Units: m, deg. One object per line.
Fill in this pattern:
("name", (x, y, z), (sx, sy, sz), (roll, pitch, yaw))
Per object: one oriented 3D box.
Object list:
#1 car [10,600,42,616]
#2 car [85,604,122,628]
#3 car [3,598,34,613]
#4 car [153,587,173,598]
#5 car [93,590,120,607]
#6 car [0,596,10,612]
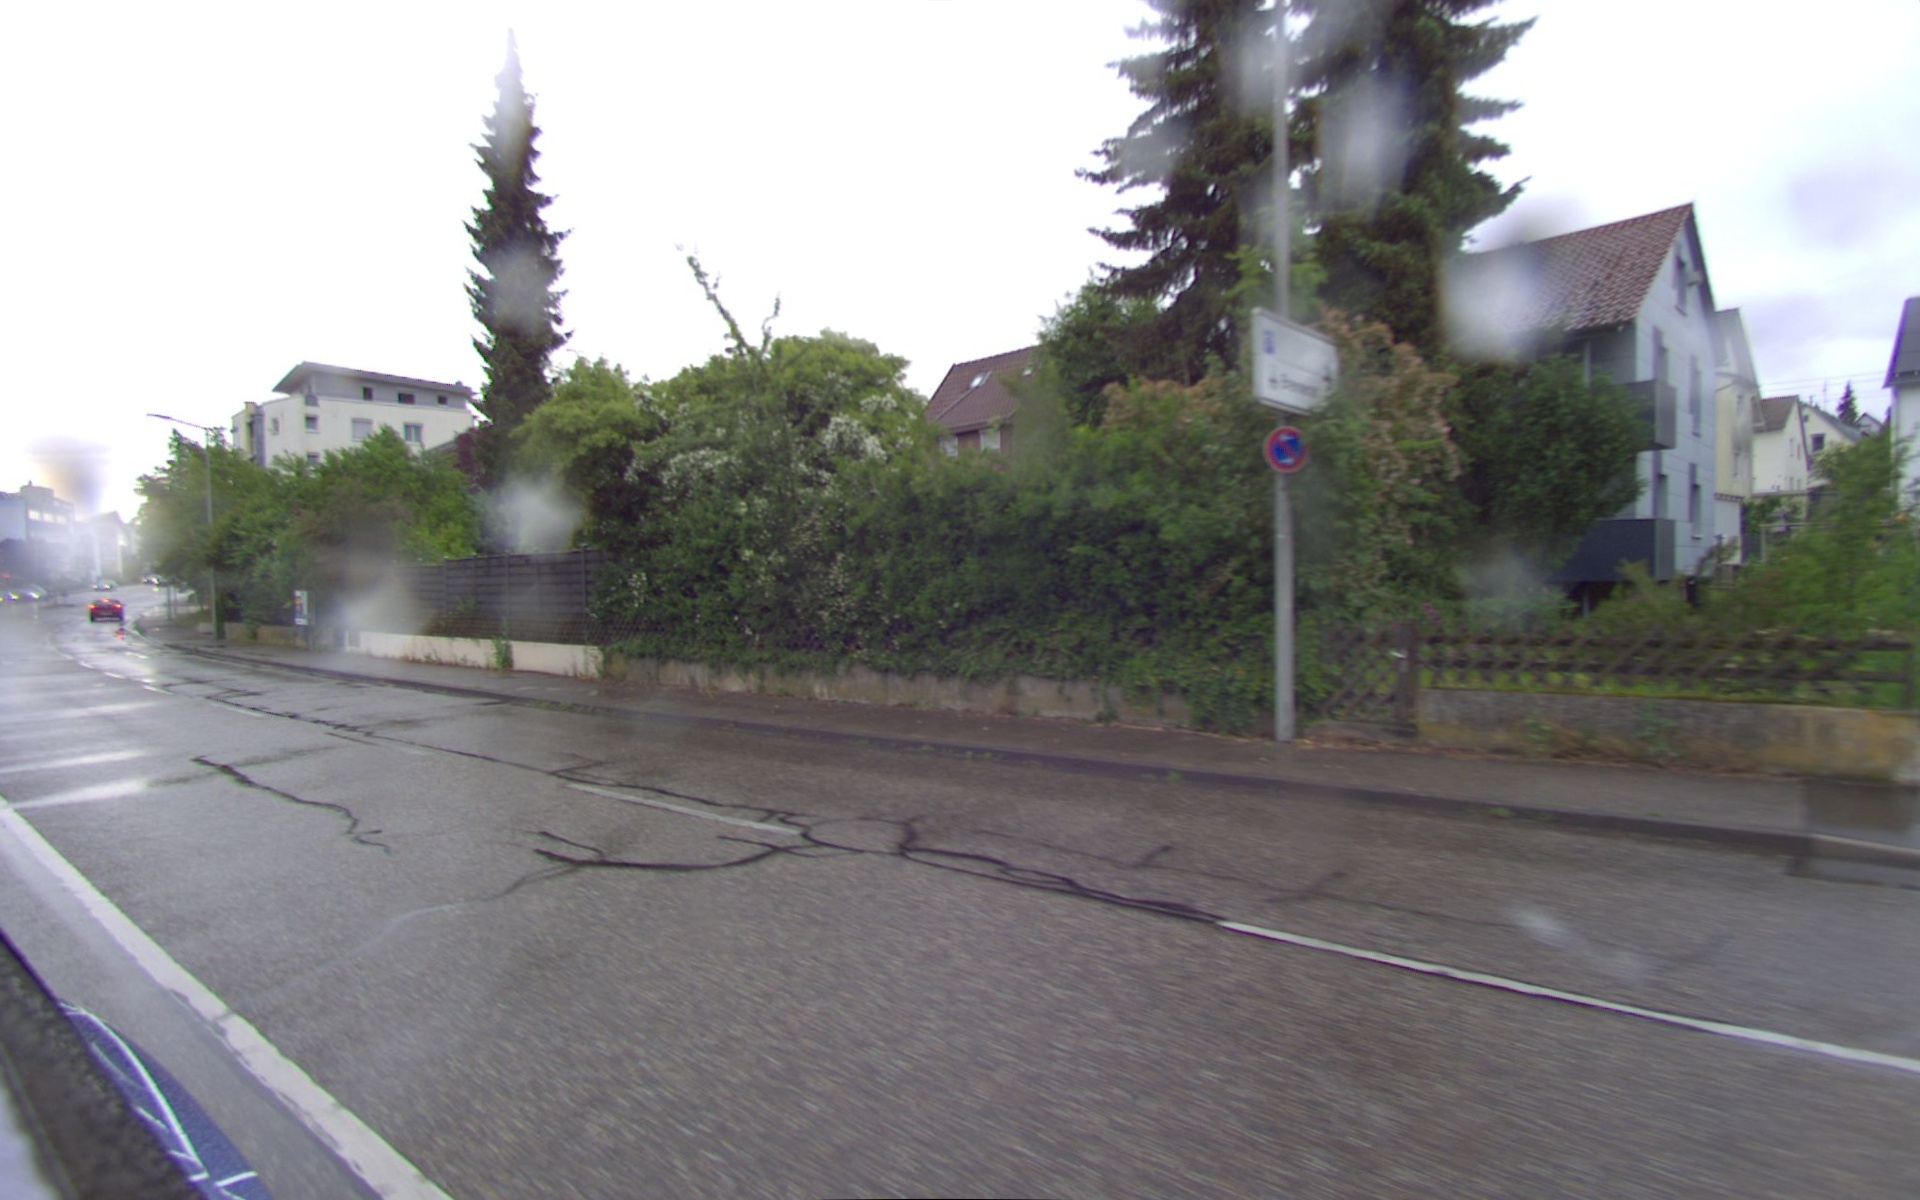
("car", (-101.592, 0.847, 110.119), (1.868, 1.556, 4.032), (-3, 2, -32))
("car", (-58.348, 1.053, 69.006), (1.752, 1.518, 4.112), (1, 0, -38))
("car", (-97.150, 0.551, 104.474), (1.726, 1.489, 4.011), (-3, 2, -34))
("car", (-124.162, -1.148, 157.736), (1.799, 1.699, 4.013), (-1, 1, -29))
("car", (-119.034, -0.247, 141.169), (1.966, 2.028, 4.013), (-6, 4, -29))
("car", (-93.411, 0.433, 97.642), (1.712, 1.497, 4.162), (-1, 1, -31))
